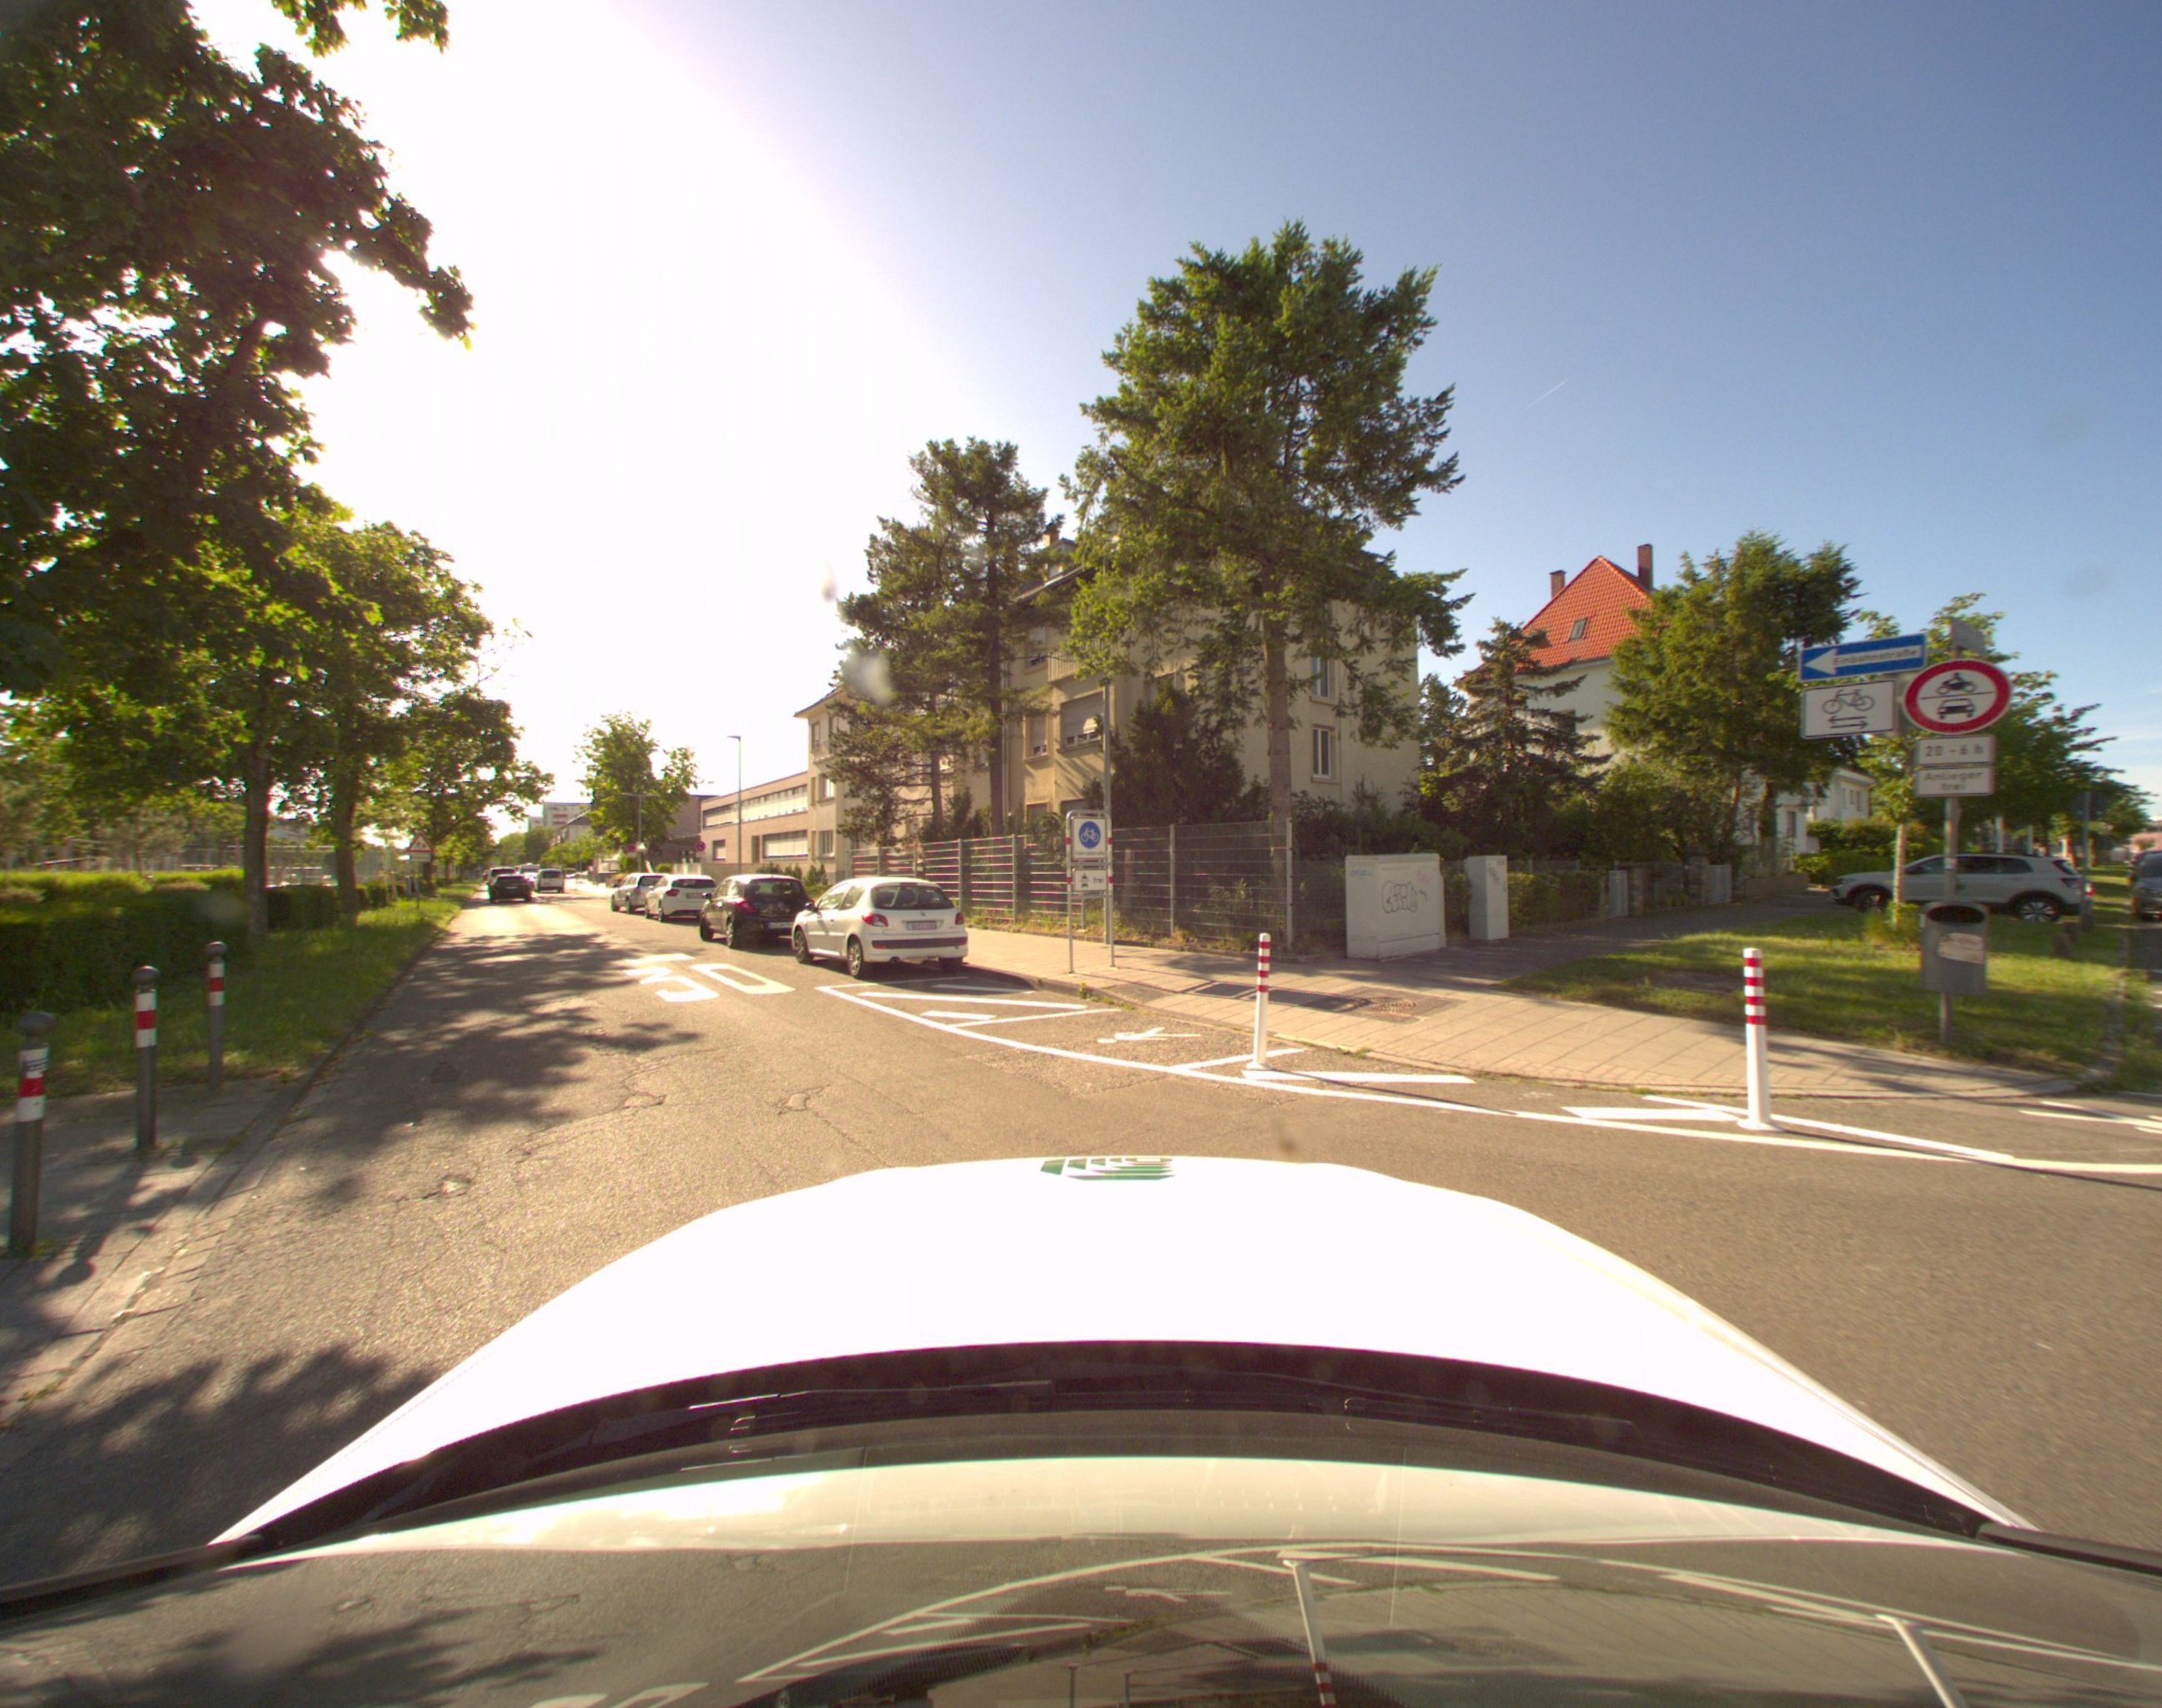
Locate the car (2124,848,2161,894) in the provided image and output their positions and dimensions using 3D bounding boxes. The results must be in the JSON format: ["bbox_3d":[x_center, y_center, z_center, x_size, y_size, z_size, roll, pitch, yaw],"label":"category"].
[{"bbox_3d":[40.573,0.563,30.269,4.020,1.610,1.976,0,-4,-40],"label":"car"}]

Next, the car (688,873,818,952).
[{"bbox_3d":[-7.121,1.165,17.482,1.684,1.495,3.783,1,-2,-37],"label":"car"}]

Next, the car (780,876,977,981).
[{"bbox_3d":[-3.335,1.058,12.950,1.714,1.398,3.734,1,-2,-37],"label":"car"}]

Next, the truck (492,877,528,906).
[{"bbox_3d":[-42.951,2.758,61.195,2.009,2.036,4.819,-1,-1,-37],"label":"truck"}]

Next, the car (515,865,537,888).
[{"bbox_3d":[-62.782,2.557,92.105,1.831,2.518,3.955,0,-1,-37],"label":"car"}]

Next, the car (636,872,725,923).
[{"bbox_3d":[-12.747,1.321,25.806,1.809,1.495,3.955,1,-2,-37],"label":"car"}]

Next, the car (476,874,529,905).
[{"bbox_3d":[-30.668,1.823,43.111,2.010,1.525,4.700,0,-1,-39],"label":"car"}]

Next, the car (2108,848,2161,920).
[{"bbox_3d":[26.300,0.653,19.467,4.020,1.610,1.976,0,-4,-40],"label":"car"}]

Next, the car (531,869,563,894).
[{"bbox_3d":[-41.328,2.101,62.948,1.831,1.830,3.955,0,-1,-37],"label":"car"}]

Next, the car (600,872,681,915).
[{"bbox_3d":[-16.561,1.443,30.521,1.811,1.495,3.952,1,-2,-41],"label":"car"}]

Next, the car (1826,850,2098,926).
[{"bbox_3d":[20.335,0.708,18.988,1.851,1.564,4.156,0,0,-40],"label":"car"}]

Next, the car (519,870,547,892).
[{"bbox_3d":[-47.678,2.340,70.811,1.831,1.830,3.955,0,-1,-37],"label":"car"}]
